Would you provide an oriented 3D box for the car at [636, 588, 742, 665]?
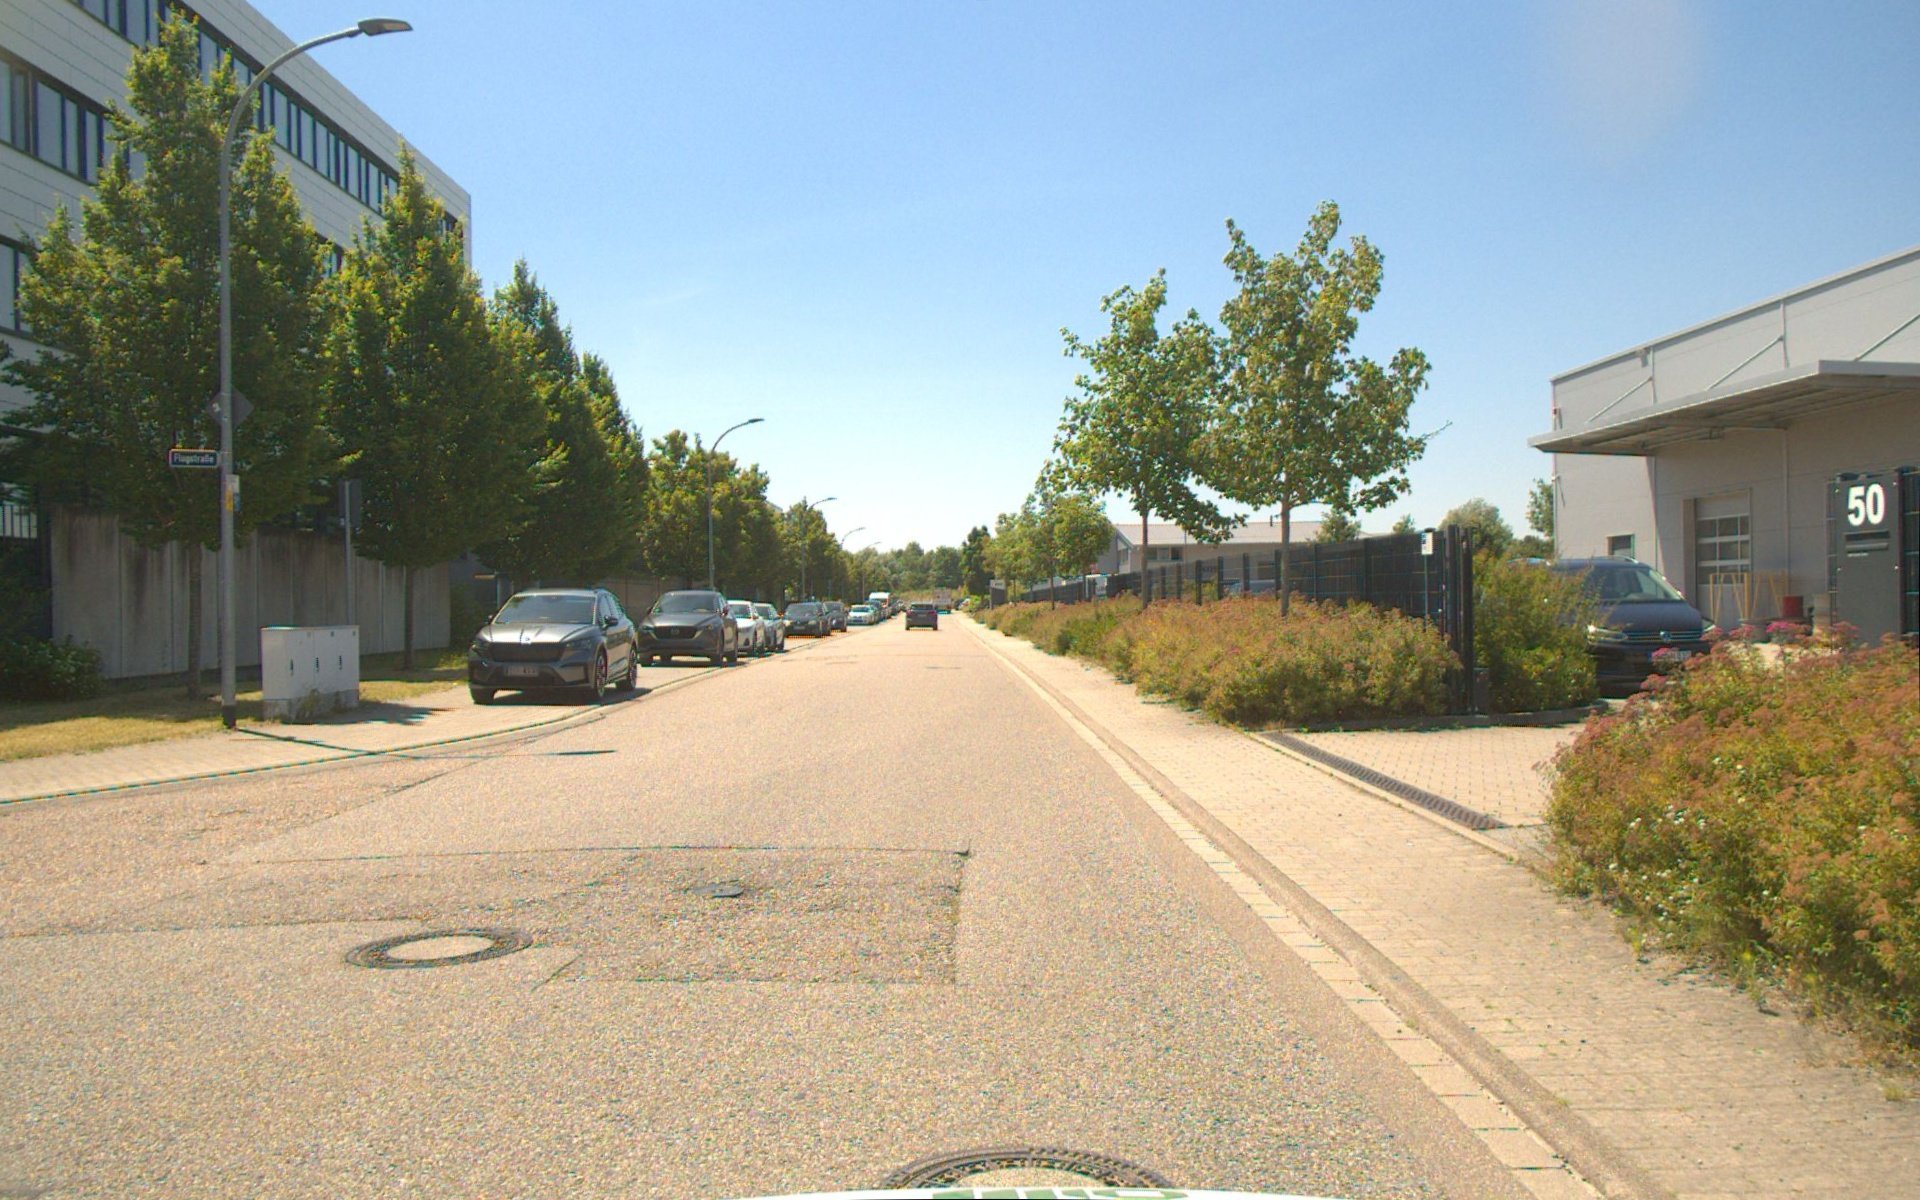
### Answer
[{"bbox_3d":[-6.116,0.554,37.842,1.735,1.652,4.581,0,0,-1],"label":"car"}]

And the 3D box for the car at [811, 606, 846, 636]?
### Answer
[{"bbox_3d":[-7.185,1.147,90.840,1.735,1.640,4.245,0,0,-2],"label":"car"}]

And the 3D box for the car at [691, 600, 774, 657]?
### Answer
[{"bbox_3d":[-6.197,0.739,45.440,1.735,1.456,4.200,0,0,-1],"label":"car"}]

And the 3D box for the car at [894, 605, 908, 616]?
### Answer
[{"bbox_3d":[-8.589,1.501,241.756,1.762,1.513,4.253,0,0,1],"label":"car"}]

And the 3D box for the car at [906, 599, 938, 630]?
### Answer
[{"bbox_3d":[-2.110,0.816,92.664,1.753,1.652,3.808,1,-1,-1],"label":"car"}]

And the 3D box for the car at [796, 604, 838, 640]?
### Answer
[{"bbox_3d":[-6.718,1.030,78.192,1.735,1.640,4.850,0,0,-2],"label":"car"}]

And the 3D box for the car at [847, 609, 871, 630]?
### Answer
[{"bbox_3d":[-7.493,1.429,122.818,1.686,1.502,3.855,0,0,-3],"label":"car"}]

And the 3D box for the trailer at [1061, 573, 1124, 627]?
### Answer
[{"bbox_3d":[6.363,0.007,79.709,2.767,2.445,1.418,-2,0,-5],"label":"trailer"}]

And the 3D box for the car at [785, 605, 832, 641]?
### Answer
[{"bbox_3d":[-6.587,0.981,72.448,1.735,1.456,4.200,0,0,-1],"label":"car"}]

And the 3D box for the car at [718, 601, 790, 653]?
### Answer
[{"bbox_3d":[-6.216,0.782,50.181,1.735,1.456,3.939,0,0,-1],"label":"car"}]

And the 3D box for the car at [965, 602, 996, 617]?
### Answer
[{"bbox_3d":[2.599,1.197,210.517,3.798,1.780,1.750,1,-1,-3],"label":"car"}]

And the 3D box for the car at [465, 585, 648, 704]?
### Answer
[{"bbox_3d":[-5.991,0.627,25.067,1.735,1.615,4.480,-1,-1,-1],"label":"car"}]

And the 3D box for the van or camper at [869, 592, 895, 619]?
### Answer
[{"bbox_3d":[-7.775,0.563,165.656,2.035,2.526,6.131,1,-1,1],"label":"van or camper"}]

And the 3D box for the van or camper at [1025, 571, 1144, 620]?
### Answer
[{"bbox_3d":[7.174,-0.269,96.052,6.621,2.630,2.635,-1,-1,-2],"label":"van or camper"}]

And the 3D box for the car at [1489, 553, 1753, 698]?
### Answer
[{"bbox_3d":[8.082,0.253,20.568,1.773,1.579,3.576,-2,1,-1],"label":"car"}]

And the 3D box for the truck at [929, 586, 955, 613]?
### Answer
[{"bbox_3d":[-2.119,-0.041,195.447,2.873,3.026,6.418,1,-1,0],"label":"truck"}]
